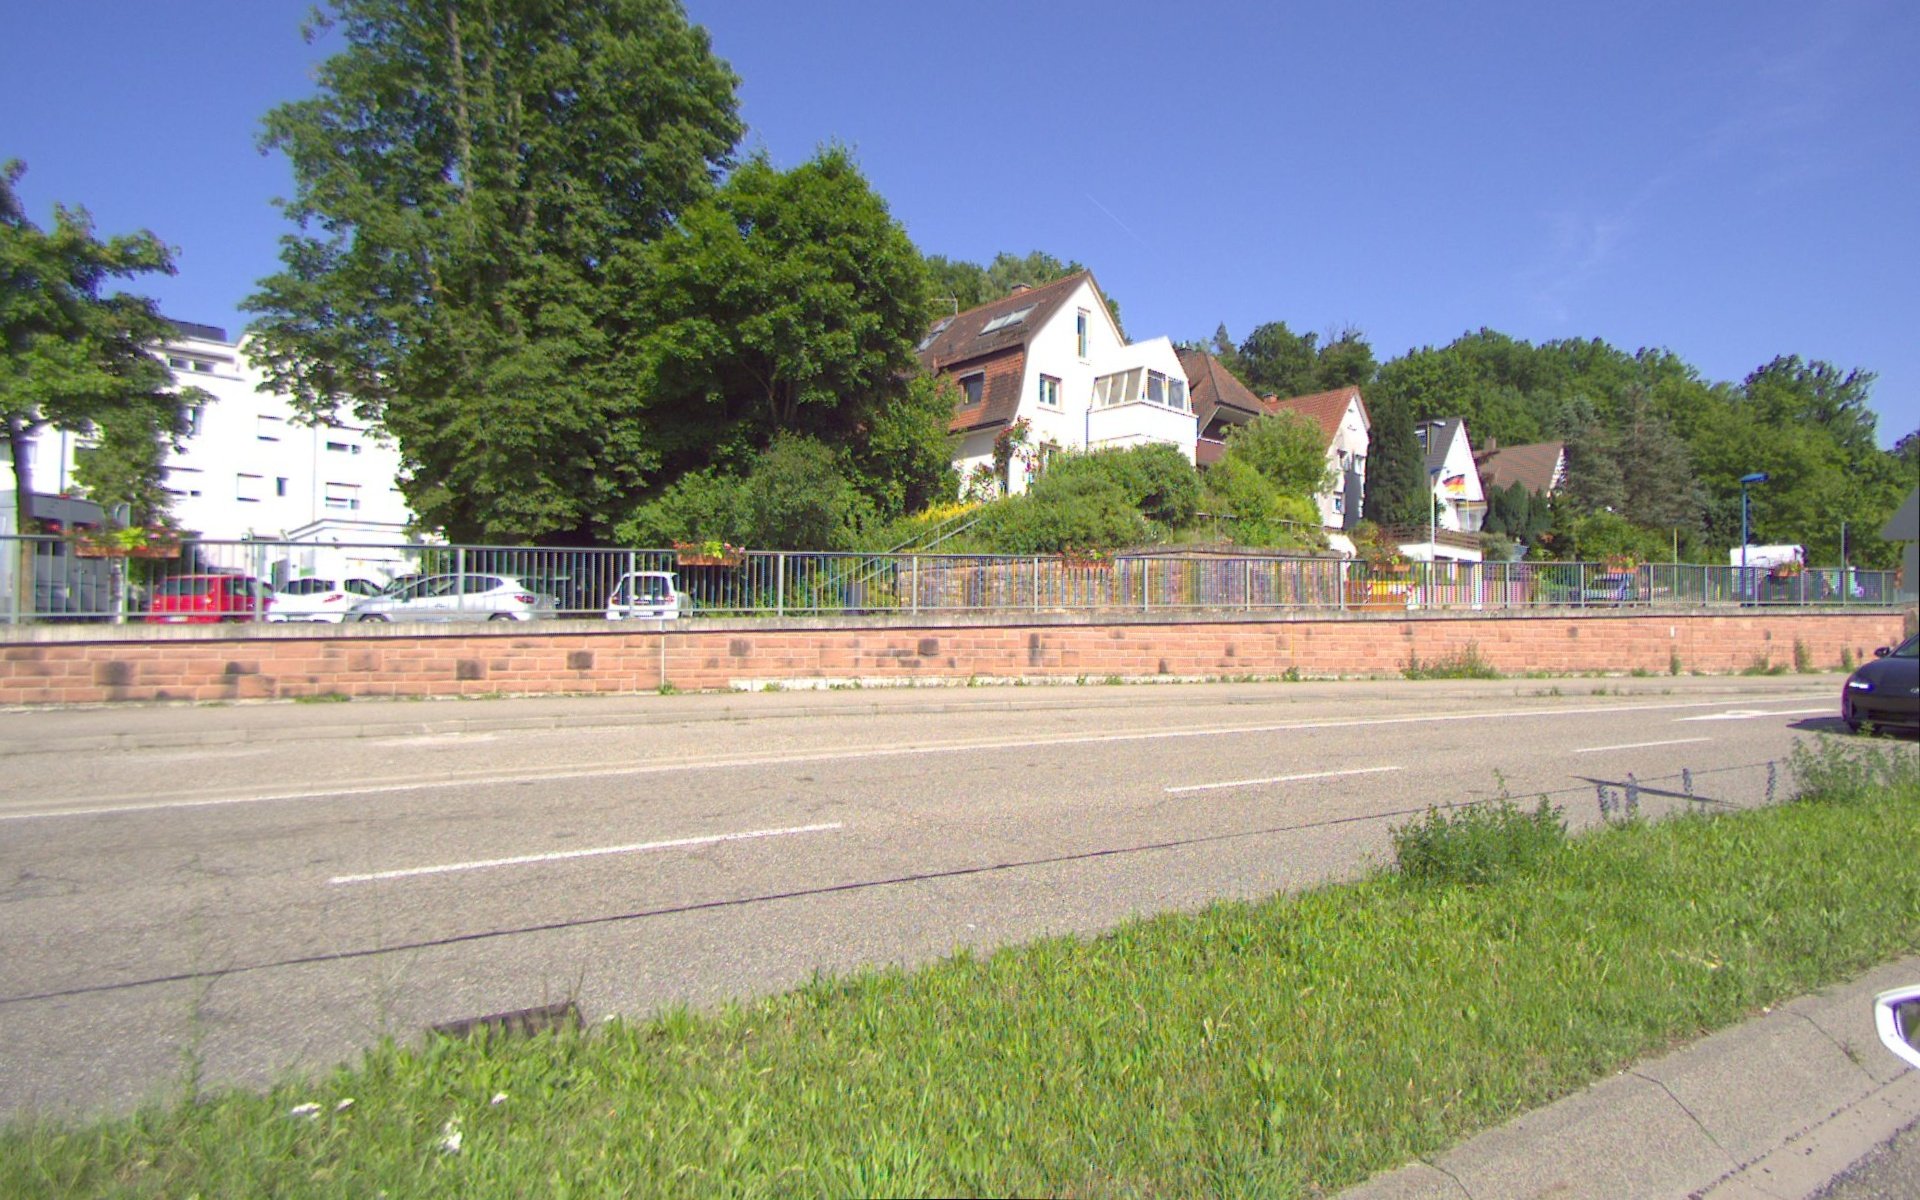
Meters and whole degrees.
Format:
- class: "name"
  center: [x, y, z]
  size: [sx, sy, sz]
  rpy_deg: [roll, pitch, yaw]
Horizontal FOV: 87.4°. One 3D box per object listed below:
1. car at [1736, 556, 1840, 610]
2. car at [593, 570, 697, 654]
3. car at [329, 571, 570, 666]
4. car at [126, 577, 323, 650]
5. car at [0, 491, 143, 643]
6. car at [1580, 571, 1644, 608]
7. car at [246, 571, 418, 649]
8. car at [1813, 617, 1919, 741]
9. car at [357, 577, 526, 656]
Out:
- class: "car"
  center: [31.771, -0.656, 38.515]
  size: [4.687, 1.946, 2.006]
  rpy_deg: [0, 2, -37]
- class: "car"
  center: [-7.625, 0.224, 24.684]
  size: [1.879, 1.901, 3.993]
  rpy_deg: [0, 1, -9]
- class: "car"
  center: [-10.355, 0.377, 20.611]
  size: [3.922, 1.813, 1.921]
  rpy_deg: [1, -1, -2]
- class: "car"
  center: [-17.438, 0.246, 24.098]
  size: [1.877, 1.581, 3.998]
  rpy_deg: [1, 1, -2]
- class: "car"
  center: [-17.842, -0.588, 17.354]
  size: [5.671, 2.477, 2.100]
  rpy_deg: [1, 2, 0]
- class: "car"
  center: [31.217, -0.454, 48.052]
  size: [1.875, 1.651, 3.976]
  rpy_deg: [0, -1, 44]
- class: "car"
  center: [-15.042, 0.174, 24.354]
  size: [1.877, 1.724, 3.996]
  rpy_deg: [0, 2, -5]
- class: "car"
  center: [13.632, 1.005, 13.429]
  size: [4.656, 1.490, 1.785]
  rpy_deg: [1, 0, -28]
- class: "car"
  center: [-12.185, 0.315, 23.930]
  size: [1.961, 1.694, 3.999]
  rpy_deg: [1, 1, 0]
